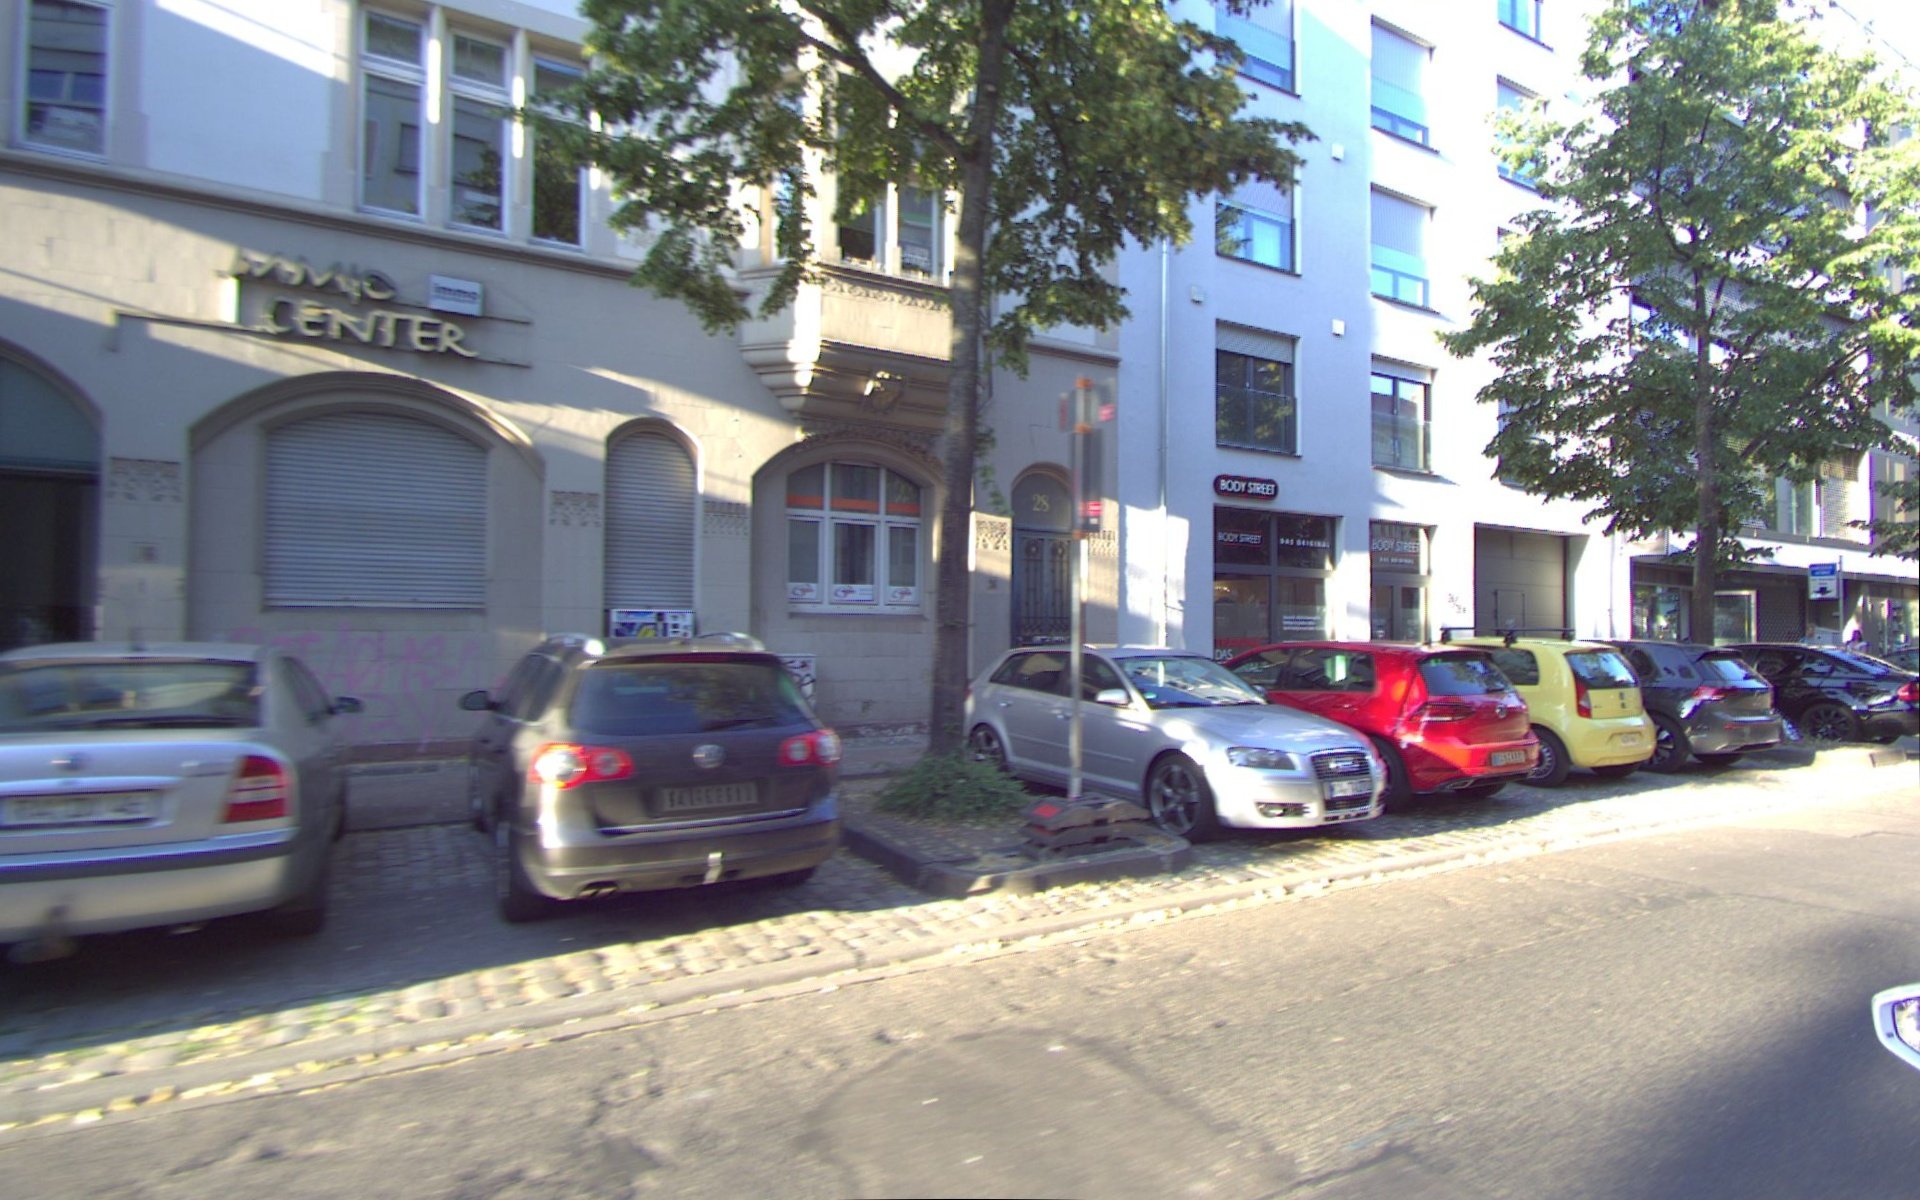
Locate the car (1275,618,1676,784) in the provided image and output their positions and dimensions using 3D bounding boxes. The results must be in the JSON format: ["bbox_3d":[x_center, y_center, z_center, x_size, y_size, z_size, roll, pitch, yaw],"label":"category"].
[{"bbox_3d":[5.764,1.009,11.688,1.725,1.588,3.846,1,-1,-31],"label":"car"}]

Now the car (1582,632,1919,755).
[{"bbox_3d":[11.843,1.250,14.820,1.725,1.503,4.252,1,-1,-31],"label":"car"}]

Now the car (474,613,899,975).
[{"bbox_3d":[-2.103,0.898,6.655,1.724,1.557,4.164,2,-1,-30],"label":"car"}]

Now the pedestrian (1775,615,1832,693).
[{"bbox_3d":[19.957,1.256,23.773,0.922,1.773,0.716,1,1,-29],"label":"pedestrian"}]

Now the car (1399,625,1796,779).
[{"bbox_3d":[7.719,1.112,12.537,1.725,1.588,3.846,1,-1,-31],"label":"car"}]

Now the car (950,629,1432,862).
[{"bbox_3d":[1.702,1.002,8.673,1.725,1.405,4.017,1,0,-33],"label":"car"}]

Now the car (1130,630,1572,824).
[{"bbox_3d":[3.606,1.051,9.936,1.725,1.476,3.846,1,-1,-31],"label":"car"}]

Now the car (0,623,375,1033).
[{"bbox_3d":[-4.389,0.910,5.713,1.711,1.461,4.164,2,-1,-29],"label":"car"}]

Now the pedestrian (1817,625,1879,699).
[{"bbox_3d":[20.347,1.413,23.020,1.081,1.624,0.716,1,1,-30],"label":"pedestrian"}]

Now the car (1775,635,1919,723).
[{"bbox_3d":[17.509,1.414,17.955,1.723,1.503,4.256,1,-1,-29],"label":"car"}]
